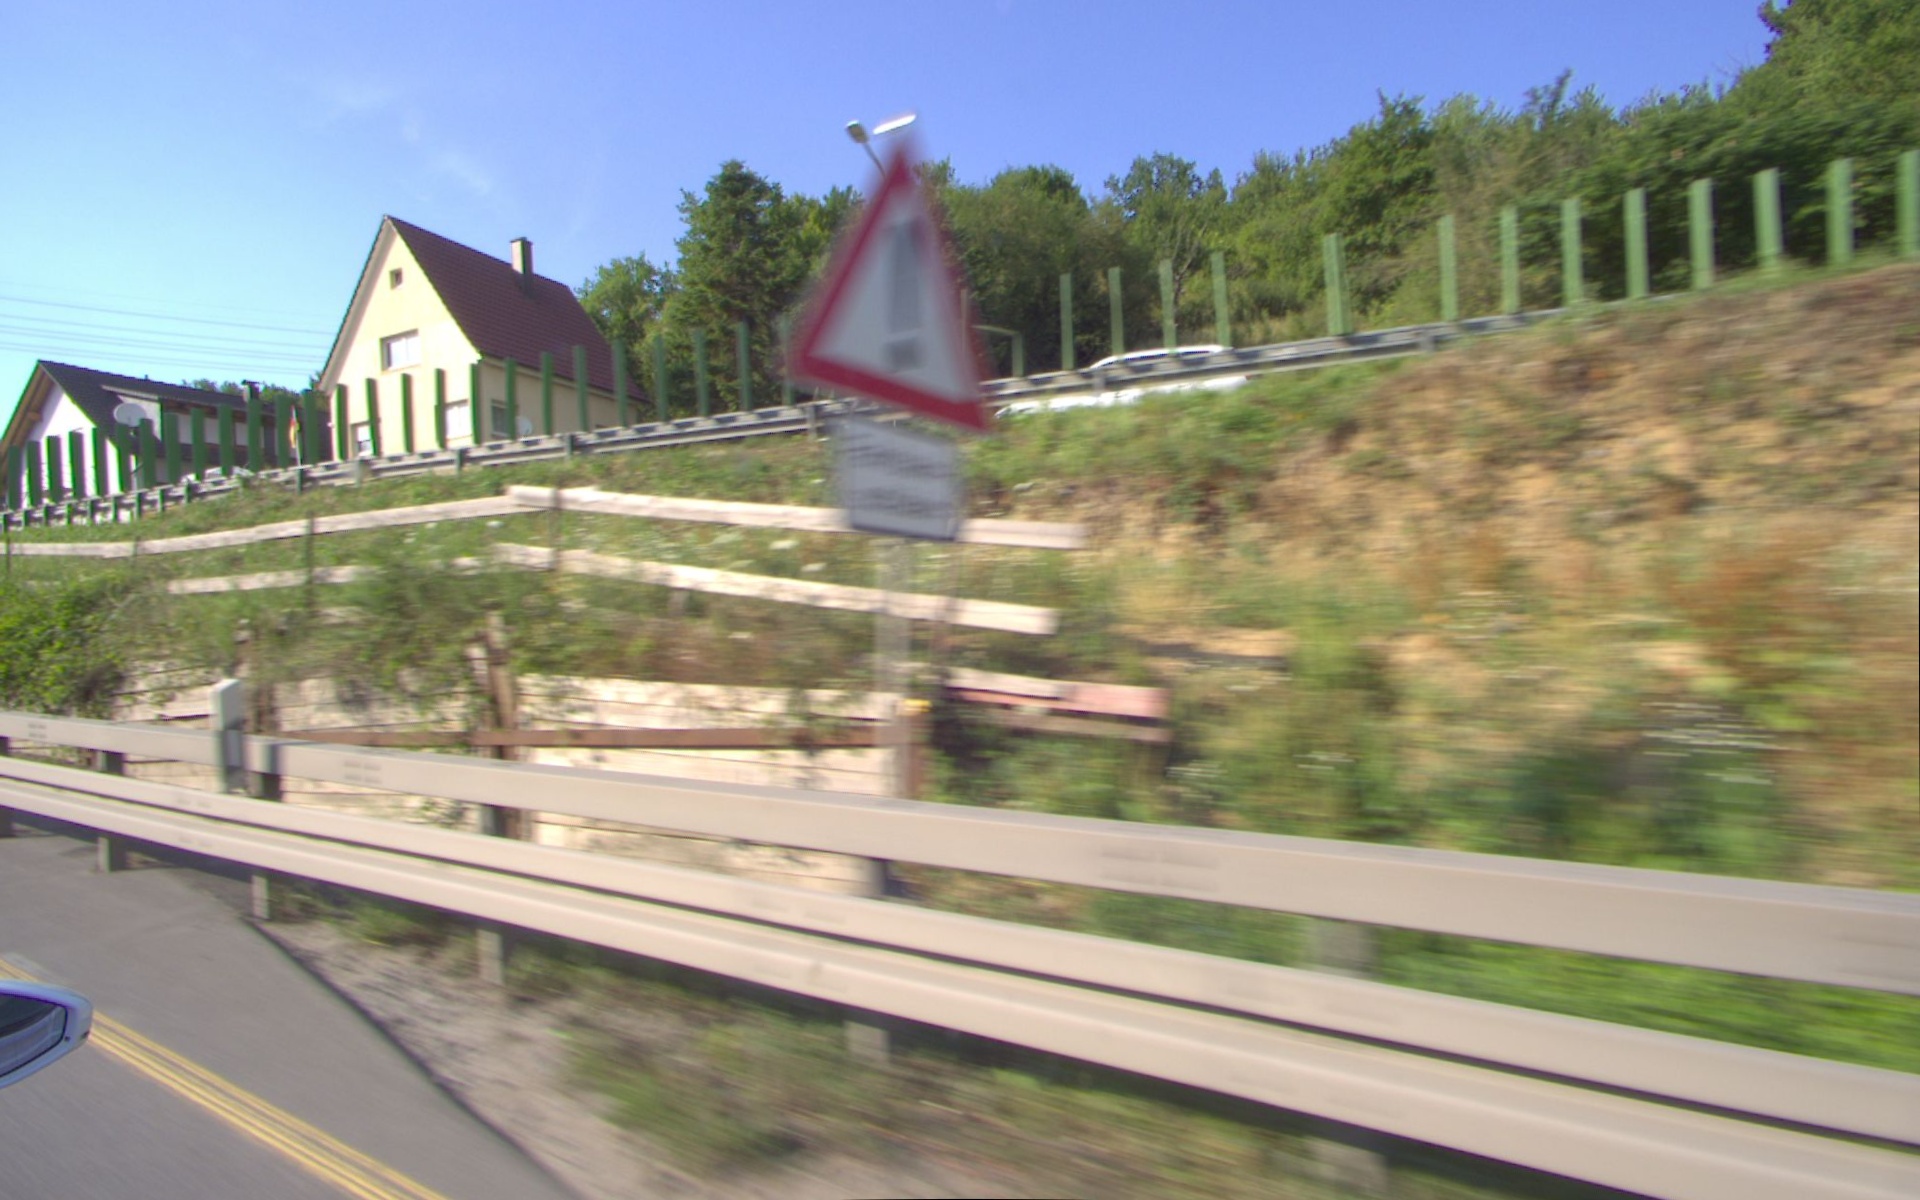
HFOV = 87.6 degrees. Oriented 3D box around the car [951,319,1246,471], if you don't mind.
[{"bbox_3d":[2.307,-3.264,16.493,4.565,1.680,1.701,-3,-1,17],"label":"car"}]
